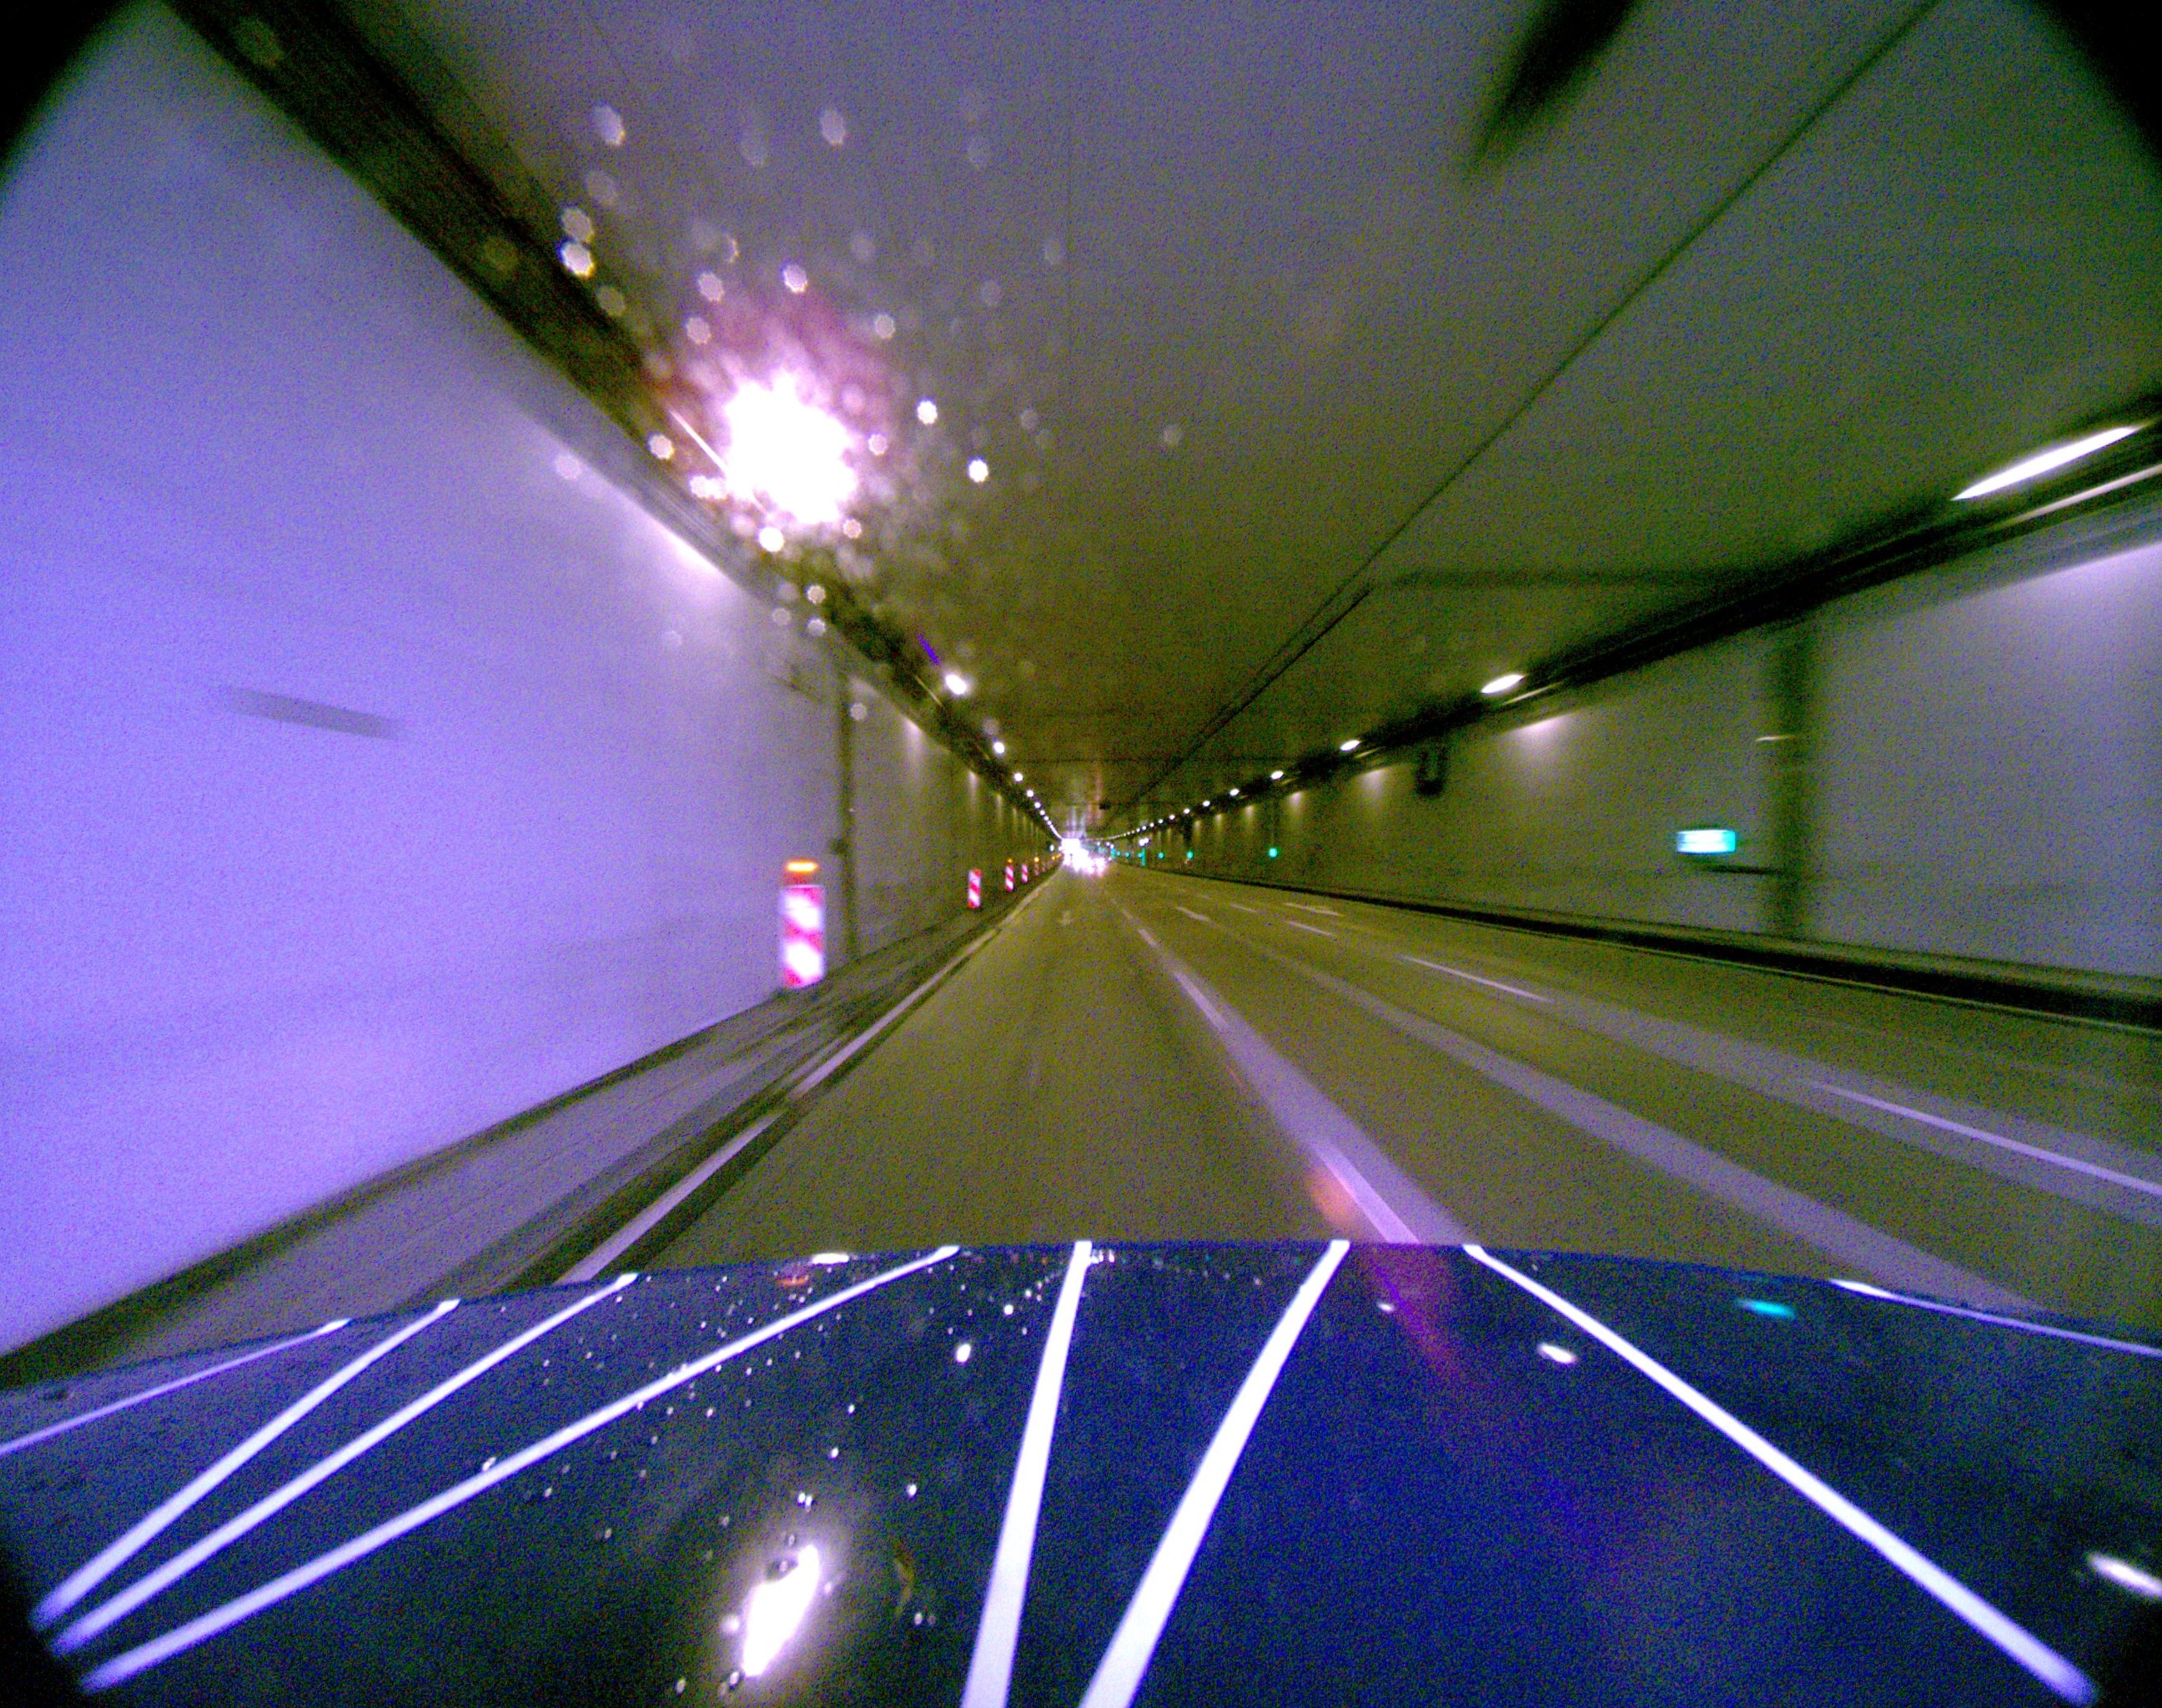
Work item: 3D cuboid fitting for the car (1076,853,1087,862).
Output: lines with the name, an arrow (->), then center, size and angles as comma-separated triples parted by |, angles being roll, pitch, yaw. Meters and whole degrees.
car -> 0.168, 0.630, 145.653 | 1.998, 1.686, 4.000 | -3, 0, 0

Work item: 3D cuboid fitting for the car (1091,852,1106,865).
car -> 2.450, 0.640, 107.677 | 1.998, 1.686, 4.000 | -3, 0, 0

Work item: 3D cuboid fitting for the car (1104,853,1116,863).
car -> 5.086, 0.757, 133.647 | 1.999, 1.686, 3.999 | 0, 1, 0

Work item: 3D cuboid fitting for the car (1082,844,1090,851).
car -> 1.475, -1.879, 221.281 | 1.998, 1.756, 3.998 | -4, 2, 0
